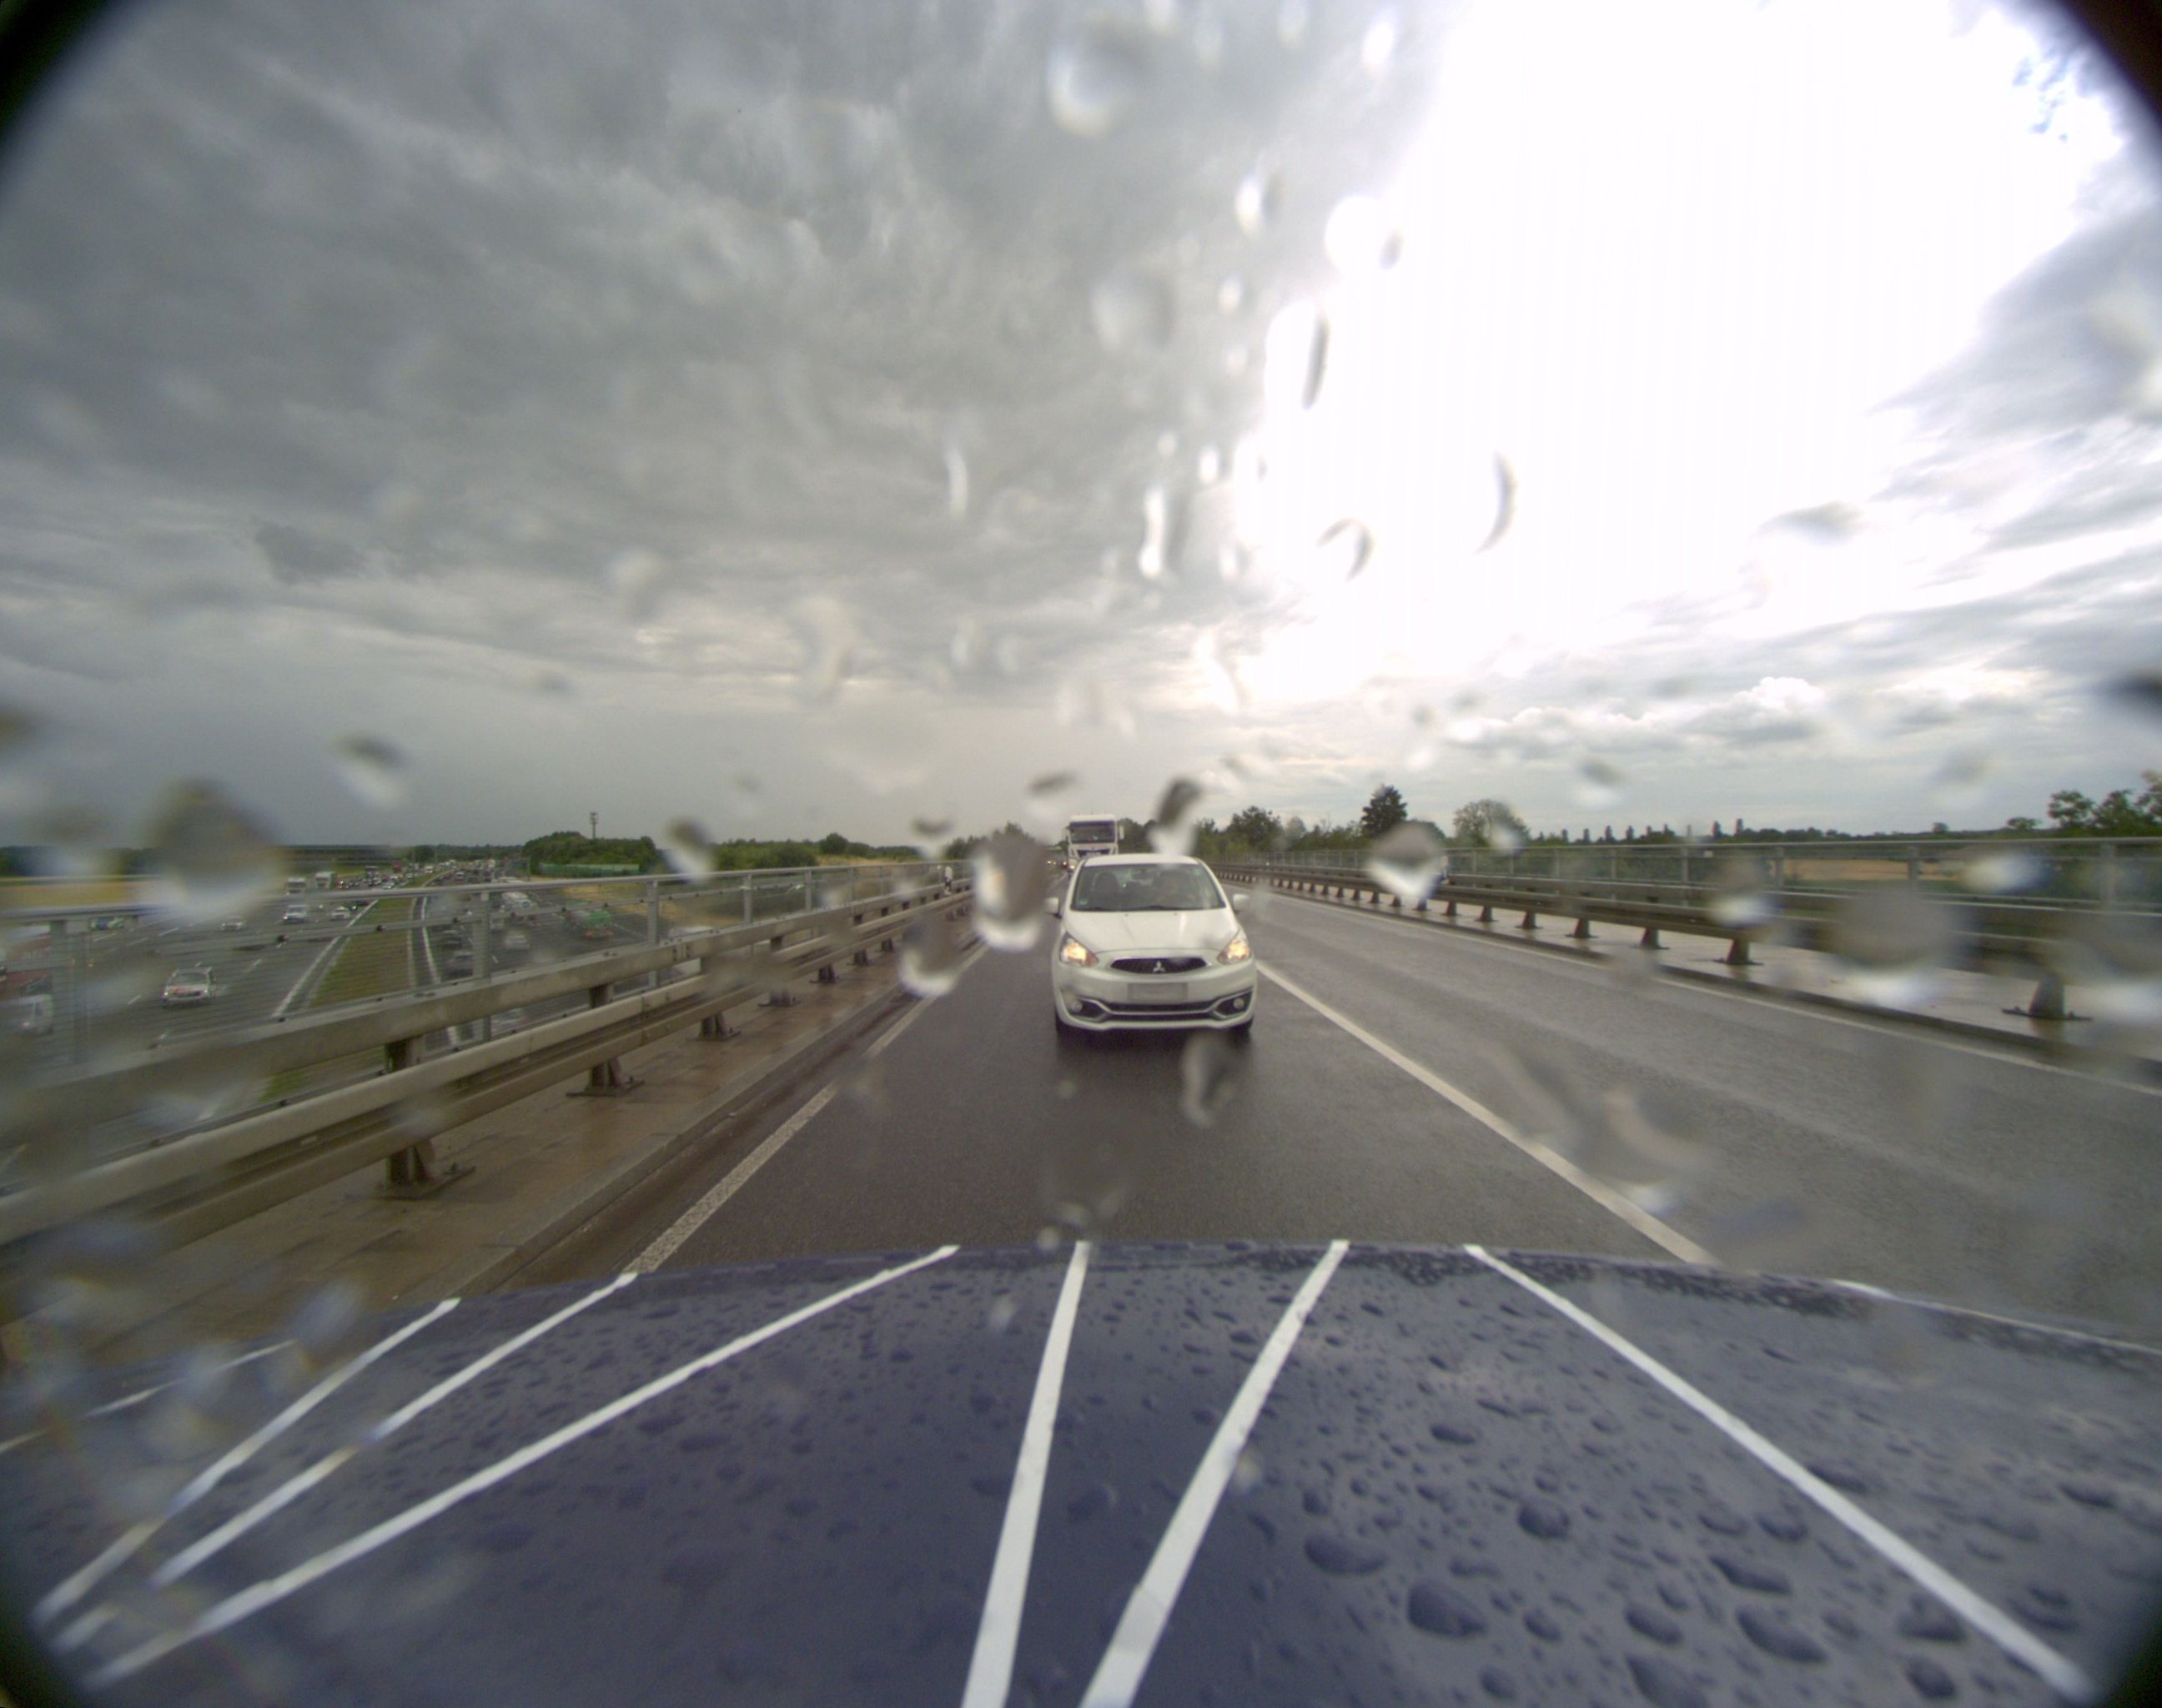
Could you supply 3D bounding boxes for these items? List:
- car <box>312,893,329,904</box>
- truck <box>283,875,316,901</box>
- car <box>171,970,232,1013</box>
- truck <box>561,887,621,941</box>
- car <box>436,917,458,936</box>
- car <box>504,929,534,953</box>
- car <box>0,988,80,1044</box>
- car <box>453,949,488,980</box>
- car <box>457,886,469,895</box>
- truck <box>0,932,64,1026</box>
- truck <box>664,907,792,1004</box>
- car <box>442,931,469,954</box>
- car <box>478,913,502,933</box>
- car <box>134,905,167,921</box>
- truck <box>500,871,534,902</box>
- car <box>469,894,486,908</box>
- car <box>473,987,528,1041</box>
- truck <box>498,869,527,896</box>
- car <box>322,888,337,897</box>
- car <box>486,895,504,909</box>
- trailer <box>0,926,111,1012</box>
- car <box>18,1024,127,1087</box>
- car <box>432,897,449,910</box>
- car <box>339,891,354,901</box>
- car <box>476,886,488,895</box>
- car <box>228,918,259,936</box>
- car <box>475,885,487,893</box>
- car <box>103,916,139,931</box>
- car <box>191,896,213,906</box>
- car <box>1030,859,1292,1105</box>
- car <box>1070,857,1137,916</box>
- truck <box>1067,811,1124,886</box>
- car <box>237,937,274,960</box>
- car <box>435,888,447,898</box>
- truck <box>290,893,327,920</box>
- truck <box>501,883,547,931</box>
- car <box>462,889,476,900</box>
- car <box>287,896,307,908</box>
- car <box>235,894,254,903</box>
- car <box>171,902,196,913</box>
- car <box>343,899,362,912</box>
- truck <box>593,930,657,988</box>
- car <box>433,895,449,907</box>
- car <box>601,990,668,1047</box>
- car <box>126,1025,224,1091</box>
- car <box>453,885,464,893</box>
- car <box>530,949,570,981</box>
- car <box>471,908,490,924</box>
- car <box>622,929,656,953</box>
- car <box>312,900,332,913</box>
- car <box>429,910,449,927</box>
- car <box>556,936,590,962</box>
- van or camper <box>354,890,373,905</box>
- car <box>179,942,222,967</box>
[{"bbox_3d":[-143.860,8.413,143.727,1.860,1.659,4.711,-3,1,-40],"label":"car"},{"bbox_3d":[-164.558,7.055,160.115,2.799,4.872,12.723,-3,1,-37],"label":"truck"},{"bbox_3d":[-54.773,8.519,47.394,1.818,1.836,4.711,-3,1,-42],"label":"car"},{"bbox_3d":[-55.758,6.567,86.165,3.302,5.135,15.587,-3,1,-41],"label":"truck"},{"bbox_3d":[-73.278,8.340,87.777,1.860,1.659,4.711,-3,1,-40],"label":"car"},{"bbox_3d":[-52.067,8.058,70.394,1.860,1.659,4.711,-3,1,-40],"label":"car"},{"bbox_3d":[-52.027,8.014,37.742,1.818,1.873,4.711,-3,1,-42],"label":"car"},{"bbox_3d":[-45.833,8.249,57.001,1.860,1.659,4.711,-3,1,-40],"label":"car"},{"bbox_3d":[-135.166,8.045,166.264,1.860,1.764,4.711,-3,1,-40],"label":"car"},{"bbox_3d":[-64.113,7.328,44.842,2.691,4.600,9.726,-3,2,-41],"label":"truck"},{"bbox_3d":[-23.544,6.205,49.814,3.610,4.511,15.587,-3,1,-40],"label":"truck"},{"bbox_3d":[-60.174,8.474,73.082,1.860,1.659,4.711,-3,1,-40],"label":"car"},{"bbox_3d":[-66.465,7.732,85.414,1.860,1.764,4.711,-3,1,-40],"label":"car"},{"bbox_3d":[-121.931,7.697,99.614,1.860,1.659,4.711,-3,1,-40],"label":"car"},{"bbox_3d":[-104.240,5.882,140.286,3.499,5.322,15.587,-3,1,-41],"label":"truck"},{"bbox_3d":[-93.693,7.274,117.953,1.860,1.764,4.711,-3,1,-40],"label":"car"},{"bbox_3d":[-28.785,7.849,37.618,1.860,1.659,4.711,-3,1,-40],"label":"car"},{"bbox_3d":[-119.438,5.830,159.609,3.499,5.322,15.587,-3,1,-41],"label":"truck"},{"bbox_3d":[-160.462,8.255,162.338,1.860,1.659,4.711,-3,1,-40],"label":"car"},{"bbox_3d":[-87.923,7.167,114.001,1.860,1.764,4.711,-3,1,-40],"label":"car"},{"bbox_3d":[-70.534,7.686,52.258,2.691,4.603,9.882,-3,2,-41],"label":"trailer"},{"bbox_3d":[-42.591,8.439,32.205,1.818,1.428,4.711,-3,1,-42],"label":"car"},{"bbox_3d":[-96.427,7.426,114.412,1.860,1.764,4.711,-3,1,-40],"label":"car"},{"bbox_3d":[-150.999,8.594,156.176,1.860,1.659,4.711,-3,1,-40],"label":"car"},{"bbox_3d":[-126.631,7.671,160.578,1.860,1.764,4.711,-3,1,-40],"label":"car"},{"bbox_3d":[-99.011,8.585,89.866,1.818,1.659,4.711,-3,1,-41],"label":"car"},{"bbox_3d":[-138.139,8.061,174.982,1.860,1.764,4.711,-3,1,-40],"label":"car"},{"bbox_3d":[-114.485,8.274,90.664,1.818,1.428,4.711,-3,1,-42],"label":"car"},{"bbox_3d":[-147.595,7.887,127.585,1.818,1.428,4.711,-3,1,-42],"label":"car"},{"bbox_3d":[0.541,0.860,7.071,1.675,1.476,4.128,-2,1,0],"label":"car"},{"bbox_3d":[0.583,0.841,21.396,1.675,1.367,4.128,-2,1,0],"label":"car"},{"bbox_3d":[0.643,-0.473,40.573,2.631,3.537,8.473,-2,3,-1],"label":"truck"},{"bbox_3d":[-79.660,9.079,73.388,1.818,1.659,4.711,-3,1,-41],"label":"car"},{"bbox_3d":[-131.226,7.994,155.755,1.860,1.764,4.711,-3,1,-40],"label":"car"},{"bbox_3d":[-104.629,7.030,103.022,2.601,3.161,8.373,-3,1,-40],"label":"truck"},{"bbox_3d":[-72.827,6.643,99.177,3.302,5.411,15.587,-3,1,-41],"label":"truck"},{"bbox_3d":[-116.420,7.699,144.577,1.860,1.764,4.711,-3,1,-40],"label":"car"},{"bbox_3d":[-135.425,8.293,131.241,1.860,1.659,4.711,-3,1,-40],"label":"car"},{"bbox_3d":[-160.674,8.484,145.949,1.818,1.428,4.711,-3,1,-42],"label":"car"},{"bbox_3d":[-140.416,8.363,118.945,1.818,1.428,4.711,-3,1,-42],"label":"car"},{"bbox_3d":[-115.297,8.118,120.272,1.860,1.659,4.711,-3,1,-40],"label":"car"},{"bbox_3d":[-32.223,7.249,53.486,2.216,2.949,9.283,-3,1,-40],"label":"truck"},{"bbox_3d":[-105.194,7.730,124.933,1.860,1.764,4.711,-3,1,-40],"label":"car"},{"bbox_3d":[-21.080,7.664,35.815,1.860,1.659,4.711,-3,1,-40],"label":"car"},{"bbox_3d":[-36.858,8.241,31.040,1.818,1.428,4.711,-3,1,-42],"label":"car"},{"bbox_3d":[-149.118,8.299,181.915,1.860,1.764,4.711,-3,1,-40],"label":"car"},{"bbox_3d":[-38.744,8.050,55.363,1.860,1.659,4.711,-3,1,-40],"label":"car"},{"bbox_3d":[-82.648,8.555,104.579,1.860,1.764,4.711,-3,1,-40],"label":"car"},{"bbox_3d":[-40.670,7.942,69.846,1.860,1.659,4.711,-3,1,-40],"label":"car"},{"bbox_3d":[-120.111,8.332,120.257,1.818,1.659,4.711,-3,1,-41],"label":"car"},{"bbox_3d":[-82.889,8.353,98.099,1.860,1.764,4.711,-3,1,-40],"label":"car"},{"bbox_3d":[-43.451,8.095,64.945,1.860,1.659,4.711,-3,1,-40],"label":"car"},{"bbox_3d":[-128.750,7.772,136.368,2.063,2.437,7.310,-3,1,-40],"label":"van or camper"},{"bbox_3d":[-79.620,9.072,68.741,1.818,1.659,4.711,-3,1,-41],"label":"car"}]
